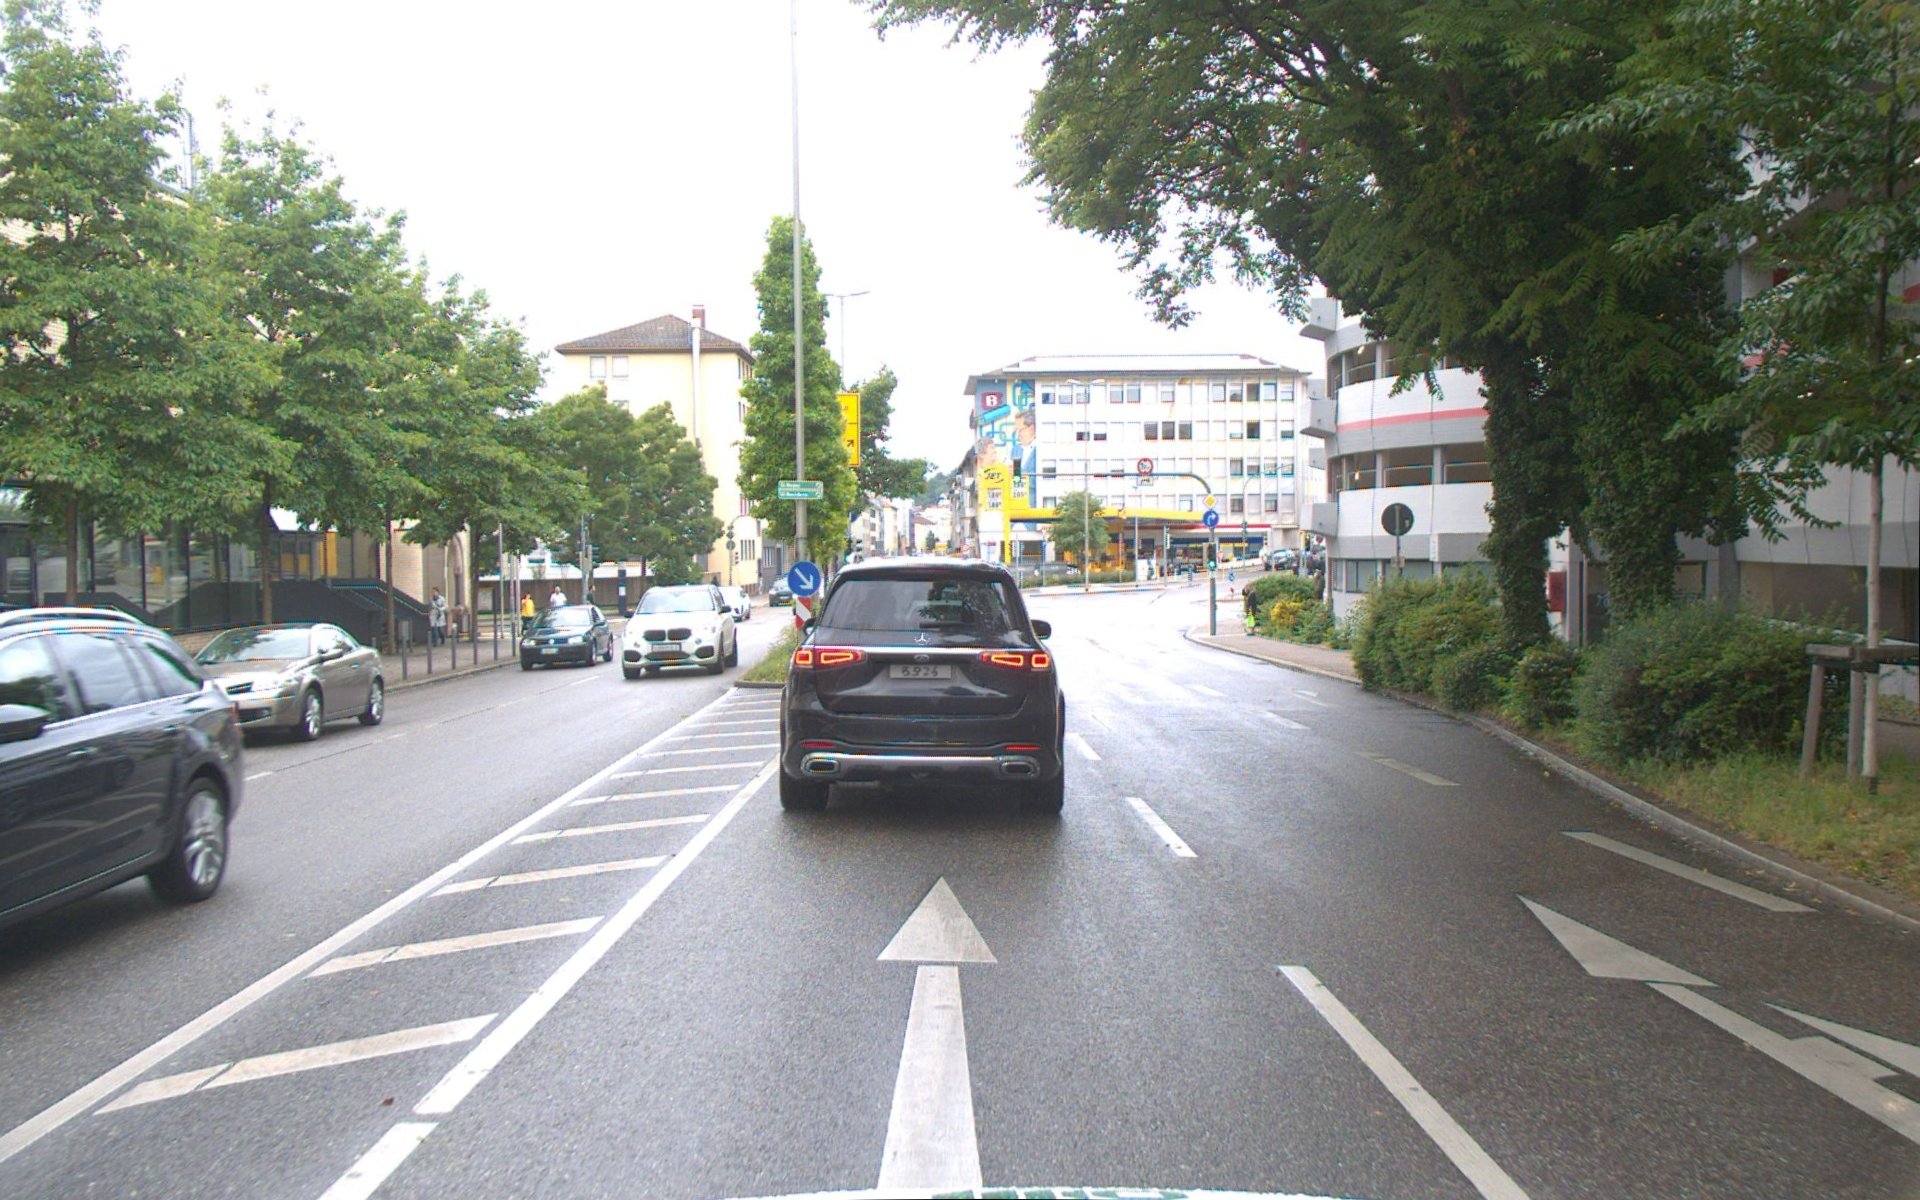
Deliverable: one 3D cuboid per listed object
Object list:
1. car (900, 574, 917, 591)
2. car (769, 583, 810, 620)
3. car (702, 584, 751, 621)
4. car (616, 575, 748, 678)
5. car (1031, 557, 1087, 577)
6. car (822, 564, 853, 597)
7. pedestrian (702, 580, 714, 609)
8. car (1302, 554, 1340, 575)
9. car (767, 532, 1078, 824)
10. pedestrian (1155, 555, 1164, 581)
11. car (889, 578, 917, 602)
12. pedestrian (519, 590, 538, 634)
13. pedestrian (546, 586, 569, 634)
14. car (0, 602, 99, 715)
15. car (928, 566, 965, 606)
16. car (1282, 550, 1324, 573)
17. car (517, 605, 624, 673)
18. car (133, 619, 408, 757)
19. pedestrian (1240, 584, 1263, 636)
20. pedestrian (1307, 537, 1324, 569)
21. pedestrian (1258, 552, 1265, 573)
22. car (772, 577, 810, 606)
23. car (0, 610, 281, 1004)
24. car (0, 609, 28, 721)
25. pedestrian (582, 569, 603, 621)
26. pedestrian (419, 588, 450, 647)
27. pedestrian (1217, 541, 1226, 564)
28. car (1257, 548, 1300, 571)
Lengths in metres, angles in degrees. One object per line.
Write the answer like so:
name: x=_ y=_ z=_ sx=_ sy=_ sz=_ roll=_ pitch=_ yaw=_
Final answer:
car: x=-6.503 y=-2.182 z=207.598 sx=1.953 sy=2.049 sz=4.000 roll=1 pitch=-1 yaw=0
car: x=-8.142 y=0.057 z=79.390 sx=1.698 sy=1.654 sz=4.229 roll=-3 pitch=1 yaw=-3
car: x=-10.166 y=0.081 z=72.119 sx=1.698 sy=1.494 sz=4.229 roll=-3 pitch=1 yaw=-3
car: x=-5.547 y=0.493 z=33.501 sx=1.852 sy=1.843 sz=4.574 roll=-3 pitch=0 yaw=-1
car: x=7.077 y=-2.362 z=118.647 sx=1.724 sy=1.400 sz=3.935 roll=-2 pitch=1 yaw=-44
car: x=-7.654 y=-1.207 z=103.487 sx=1.757 sy=1.886 sz=4.790 roll=-3 pitch=0 yaw=-3
pedestrian: x=-15.377 y=-0.357 z=100.828 sx=0.635 sy=1.757 sz=0.628 roll=-1 pitch=1 yaw=-5
car: x=27.305 y=-2.670 z=124.977 sx=1.762 sy=1.552 sz=4.050 roll=2 pitch=1 yaw=28
car: x=-0.264 y=0.515 z=12.588 sx=1.953 sy=1.832 sz=3.999 roll=1 pitch=-1 yaw=-1
pedestrian: x=13.321 y=-2.144 z=110.462 sx=0.560 sy=1.727 sz=0.631 roll=1 pitch=-1 yaw=0
car: x=-4.205 y=-0.735 z=122.788 sx=1.953 sy=1.642 sz=4.189 roll=1 pitch=0 yaw=0
pedestrian: x=-15.397 y=0.424 z=58.991 sx=0.429 sy=1.560 sz=0.546 roll=-1 pitch=1 yaw=13
pedestrian: x=-14.232 y=0.349 z=58.482 sx=0.676 sy=1.685 sz=0.612 roll=-1 pitch=1 yaw=-8
car: x=-15.244 y=0.792 z=24.296 sx=4.090 sy=1.574 sz=2.000 roll=1 pitch=-1 yaw=0
car: x=-0.780 y=-0.747 z=91.019 sx=1.953 sy=2.049 sz=3.999 roll=1 pitch=-1 yaw=-1
car: x=27.638 y=-3.097 z=133.235 sx=1.958 sy=1.735 sz=3.990 roll=-1 pitch=1 yaw=33
car: x=-9.286 y=0.895 z=39.710 sx=1.710 sy=1.437 sz=3.969 roll=-3 pitch=0 yaw=-3
car: x=-8.495 y=1.014 z=20.811 sx=1.793 sy=1.412 sz=4.227 roll=-3 pitch=0 yaw=-3
pedestrian: x=9.779 y=0.333 z=55.456 sx=0.634 sy=1.740 sz=0.470 roll=0 pitch=-1 yaw=35
pedestrian: x=23.868 y=-3.152 z=110.999 sx=0.838 sy=2.165 sz=0.947 roll=-1 pitch=1 yaw=-7
pedestrian: x=24.161 y=-2.997 z=132.539 sx=0.474 sy=1.669 sz=0.438 roll=1 pitch=-1 yaw=28
car: x=-9.896 y=-0.506 z=96.996 sx=1.850 sy=1.614 sz=4.535 roll=-3 pitch=0 yaw=-2
car: x=-4.596 y=0.834 z=7.061 sx=1.776 sy=1.488 sz=4.285 roll=-3 pitch=0 yaw=-3
car: x=-15.044 y=0.846 z=21.995 sx=4.097 sy=1.521 sz=1.997 roll=1 pitch=-1 yaw=-7
pedestrian: x=-12.767 y=-0.182 z=57.438 sx=0.675 sy=1.788 sz=0.716 roll=-1 pitch=1 yaw=-12
pedestrian: x=-15.222 y=0.505 z=47.961 sx=0.630 sy=1.695 sz=1.017 roll=1 pitch=-1 yaw=-7
pedestrian: x=20.107 y=-3.638 z=127.242 sx=0.515 sy=1.757 sz=0.688 roll=0 pitch=1 yaw=26
car: x=24.835 y=-3.188 z=128.927 sx=1.958 sy=1.735 sz=3.990 roll=-1 pitch=1 yaw=33
